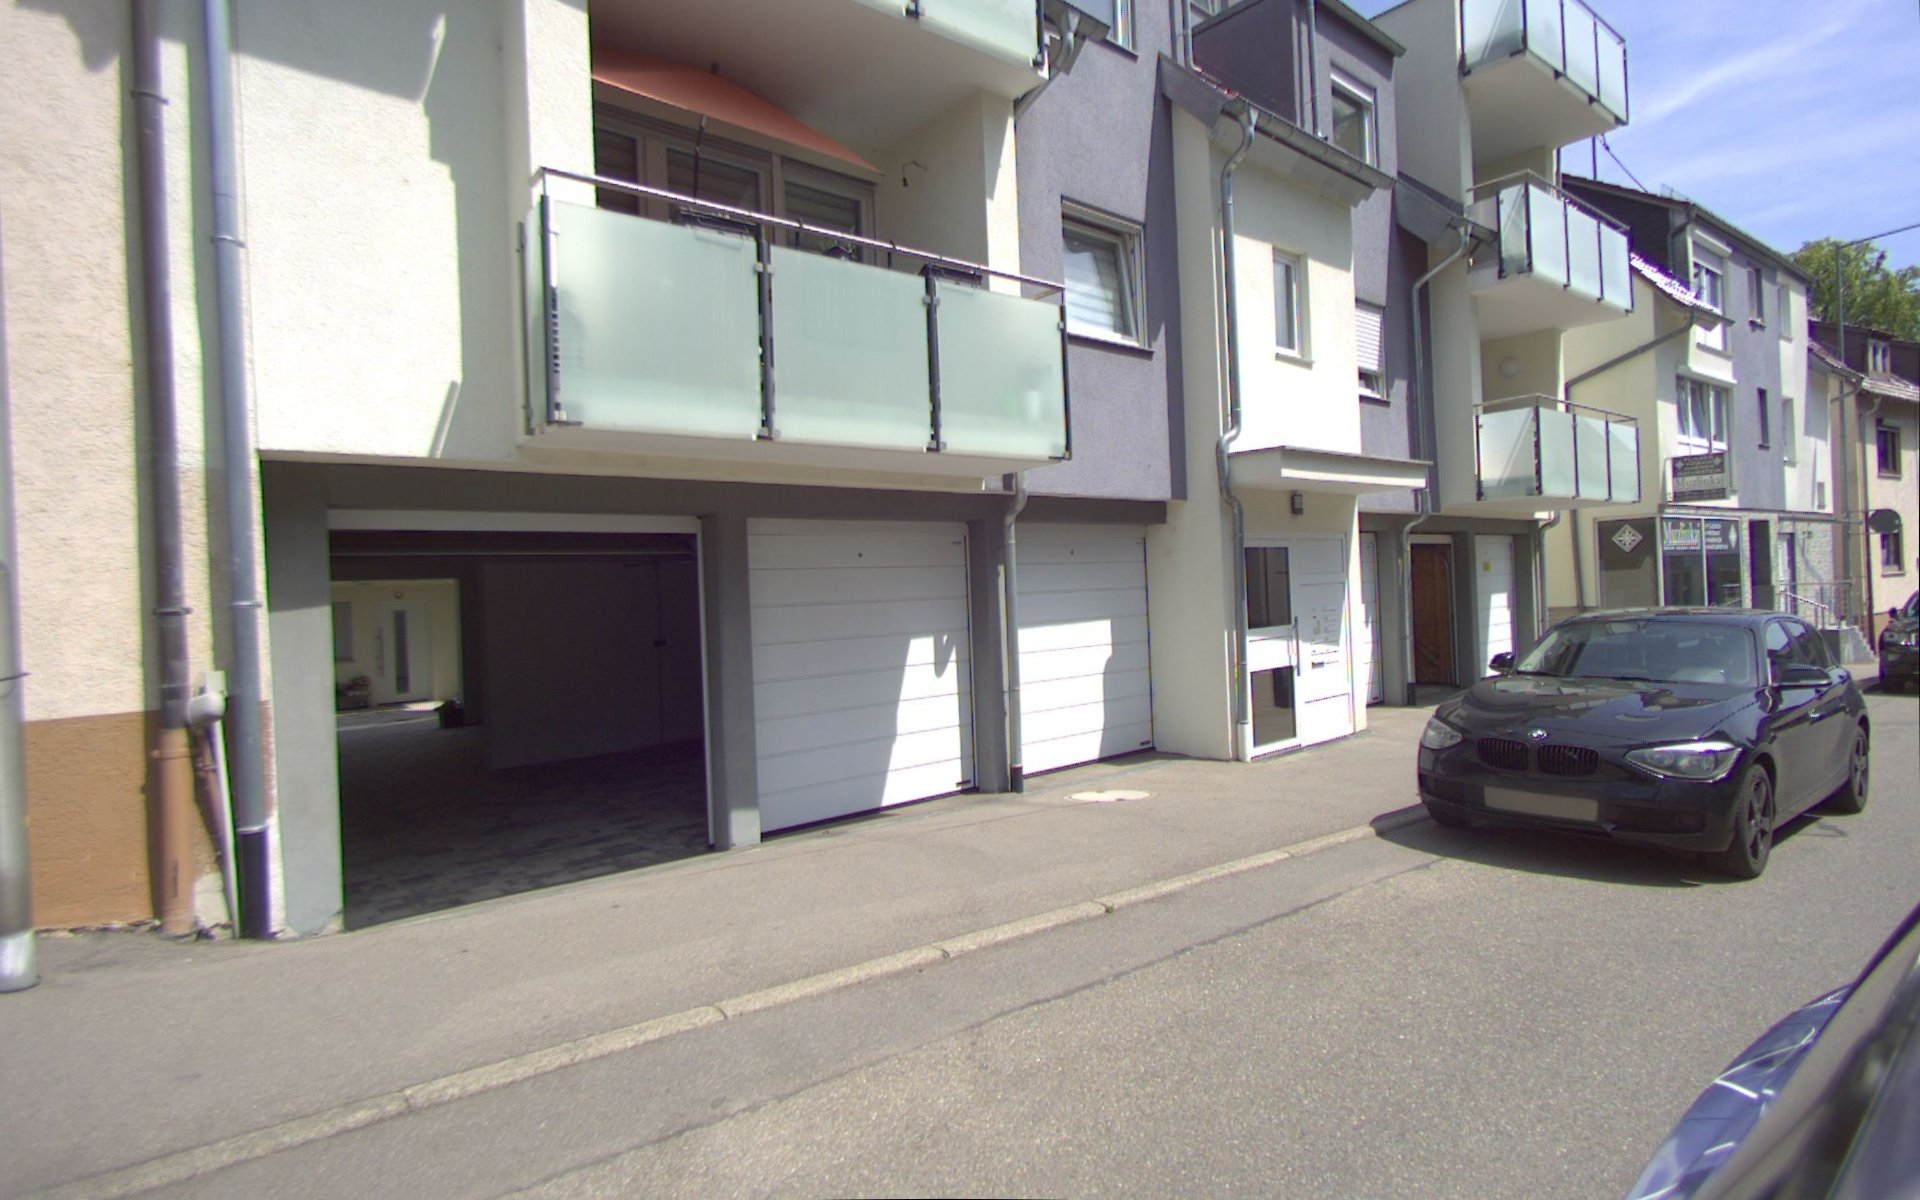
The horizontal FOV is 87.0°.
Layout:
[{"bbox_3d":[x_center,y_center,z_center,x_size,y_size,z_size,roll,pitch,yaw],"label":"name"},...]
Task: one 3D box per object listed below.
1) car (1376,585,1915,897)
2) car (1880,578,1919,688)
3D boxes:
[{"bbox_3d":[4.763,0.652,6.800,4.212,1.442,1.801,-1,0,-38],"label":"car"},{"bbox_3d":[17.195,0.492,16.937,4.632,1.738,1.957,-1,-1,-39],"label":"car"}]
